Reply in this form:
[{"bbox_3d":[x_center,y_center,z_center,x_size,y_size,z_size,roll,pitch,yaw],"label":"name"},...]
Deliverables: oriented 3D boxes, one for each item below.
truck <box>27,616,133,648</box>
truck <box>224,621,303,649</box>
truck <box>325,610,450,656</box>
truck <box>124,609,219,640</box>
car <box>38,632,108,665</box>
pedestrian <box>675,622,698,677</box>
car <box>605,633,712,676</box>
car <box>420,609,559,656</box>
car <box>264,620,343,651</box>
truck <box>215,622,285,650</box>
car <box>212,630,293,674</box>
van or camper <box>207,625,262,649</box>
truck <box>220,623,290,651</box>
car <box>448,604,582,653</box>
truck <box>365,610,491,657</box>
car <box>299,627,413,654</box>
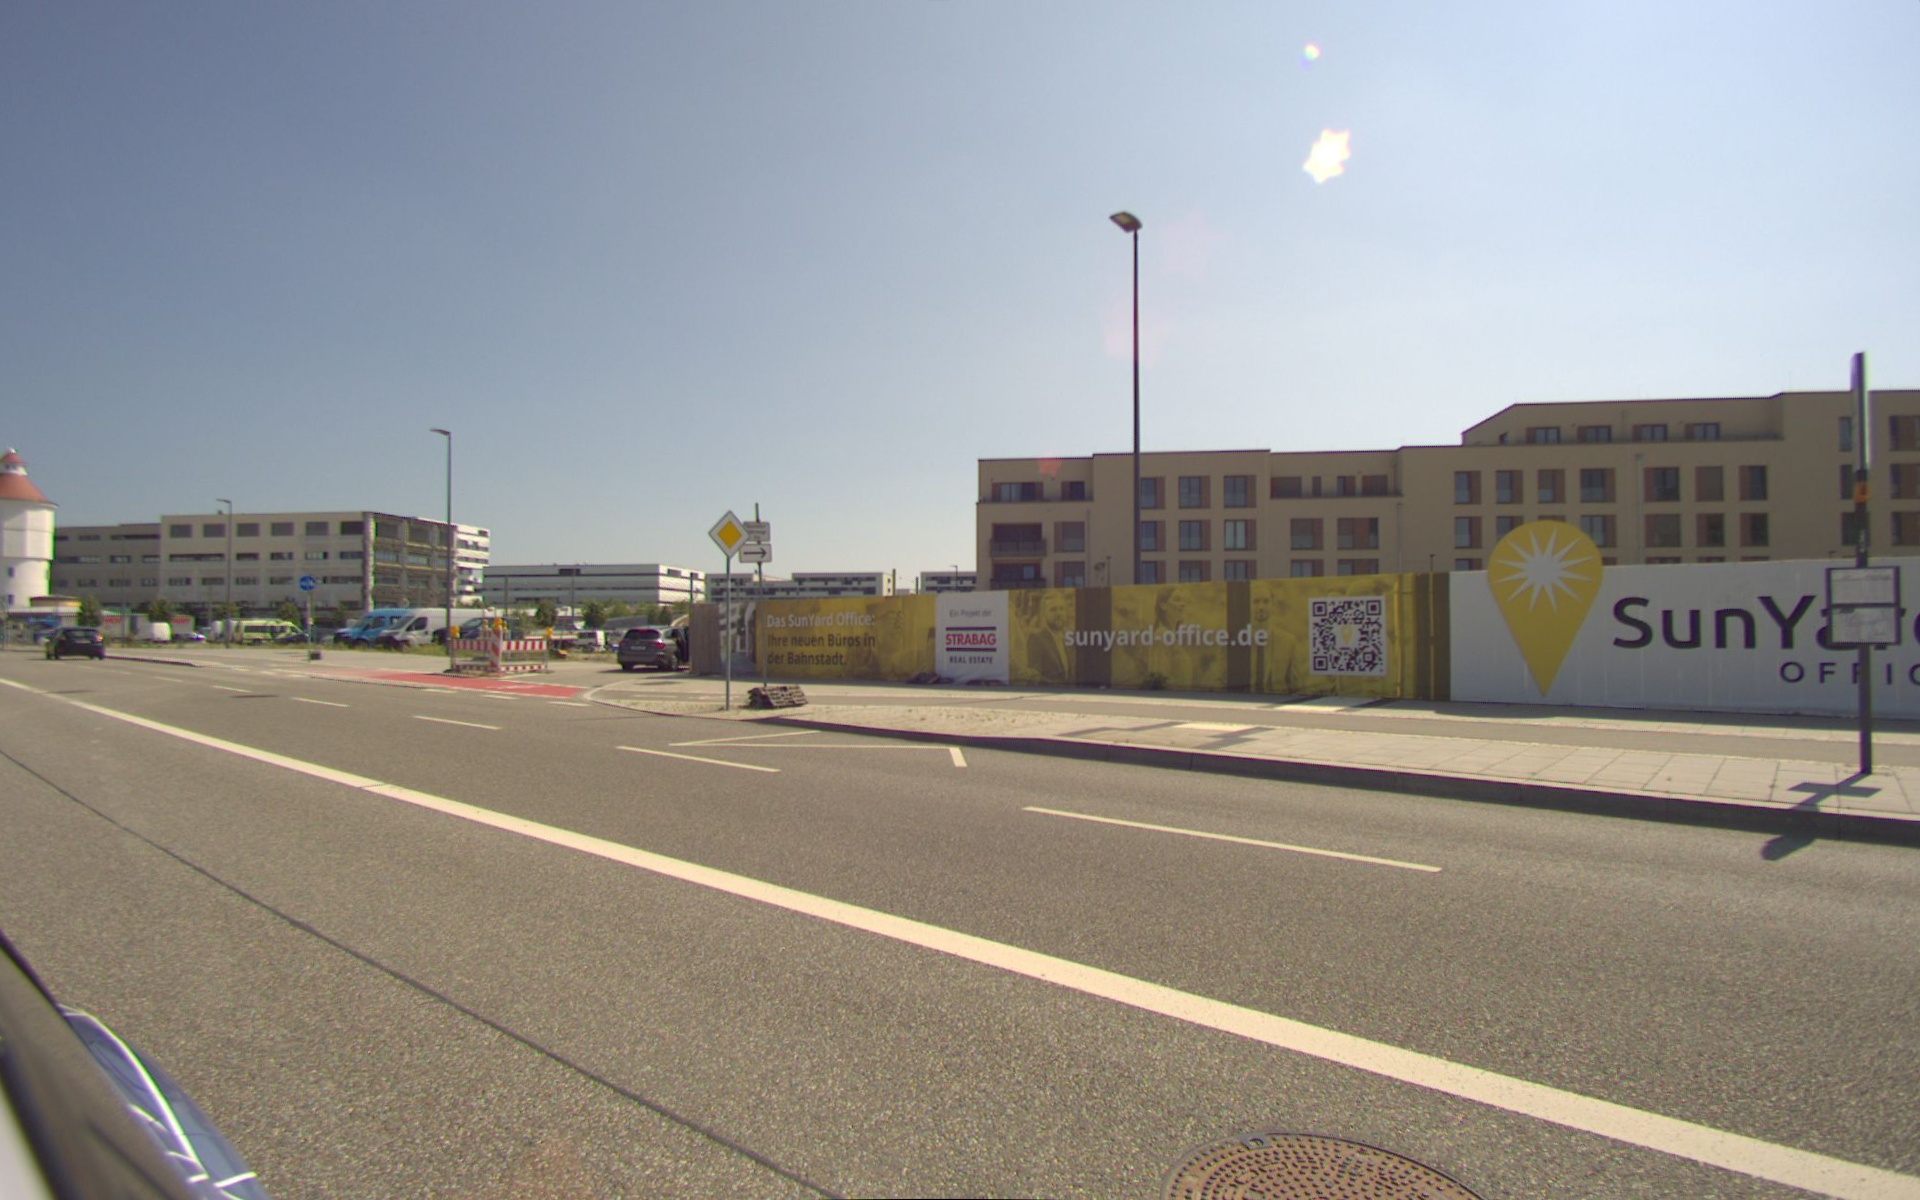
[{"bbox_3d":[-123.574,4.469,142.389,3.281,4.098,10.896,-1,0,23],"label":"truck"},{"bbox_3d":[-75.217,3.759,109.317,2.599,2.847,6.572,-2,-2,38],"label":"truck"},{"bbox_3d":[-33.348,1.964,59.125,2.274,2.563,5.942,-2,-3,41],"label":"truck"},{"bbox_3d":[-118.646,3.589,152.520,3.331,4.307,10.841,-1,0,29],"label":"truck"},{"bbox_3d":[-38.777,2.088,44.212,4.453,1.362,1.686,-1,-3,41],"label":"car"},{"bbox_3d":[-8.783,1.580,32.550,0.676,1.696,0.758,0,0,-14],"label":"pedestrian"},{"bbox_3d":[-9.947,1.788,33.759,1.975,1.328,4.240,0,-2,6],"label":"car"},{"bbox_3d":[-23.214,1.604,50.132,5.814,2.182,2.397,1,-2,-44],"label":"car"},{"bbox_3d":[-41.909,2.269,64.649,3.938,1.918,1.830,2,-3,-42],"label":"car"},{"bbox_3d":[-80.553,4.022,114.923,2.569,2.923,6.080,-1,0,41],"label":"truck"},{"bbox_3d":[-25.778,1.891,36.825,3.678,1.488,1.590,-1,-4,42],"label":"car"},{"bbox_3d":[-84.110,4.284,117.344,2.258,2.682,4.849,-3,-2,40],"label":"van or camper"},{"bbox_3d":[-77.453,4.042,111.268,2.568,2.846,5.777,-1,0,40],"label":"truck"},{"bbox_3d":[-21.174,1.391,48.406,2.391,2.190,5.392,-2,-3,37],"label":"car"},{"bbox_3d":[-28.341,1.832,54.118,2.273,2.381,5.511,-2,-3,39],"label":"truck"},{"bbox_3d":[-36.509,2.428,61.349,2.104,1.485,5.596,-2,-2,38],"label":"car"}]
